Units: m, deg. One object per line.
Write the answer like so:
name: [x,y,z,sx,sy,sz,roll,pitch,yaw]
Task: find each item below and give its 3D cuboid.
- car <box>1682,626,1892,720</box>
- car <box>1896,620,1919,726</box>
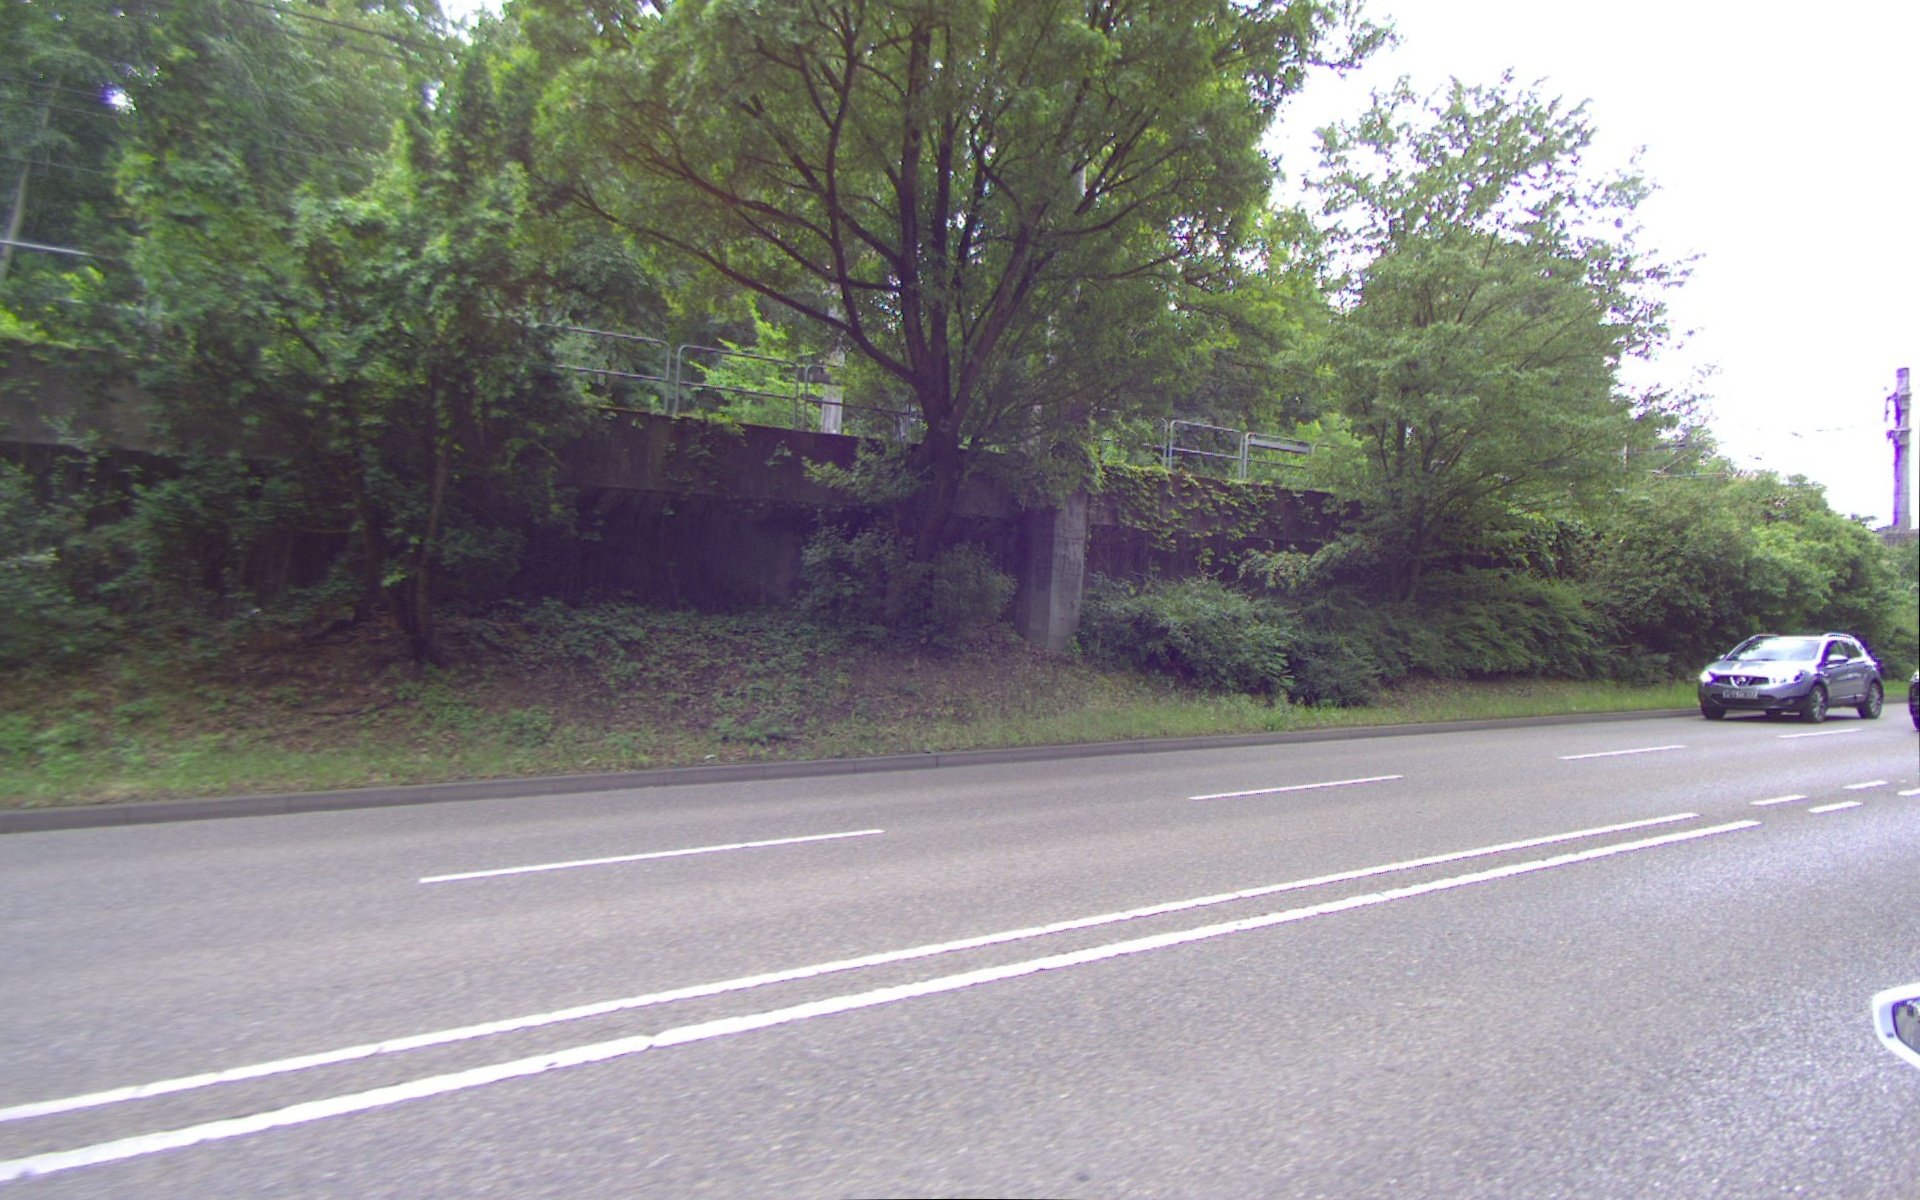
car: [15.856,1.361,19.230,4.141,1.632,1.783,2,-3,-30]
car: [17.565,1.207,16.585,4.774,1.683,1.802,2,-2,-30]
